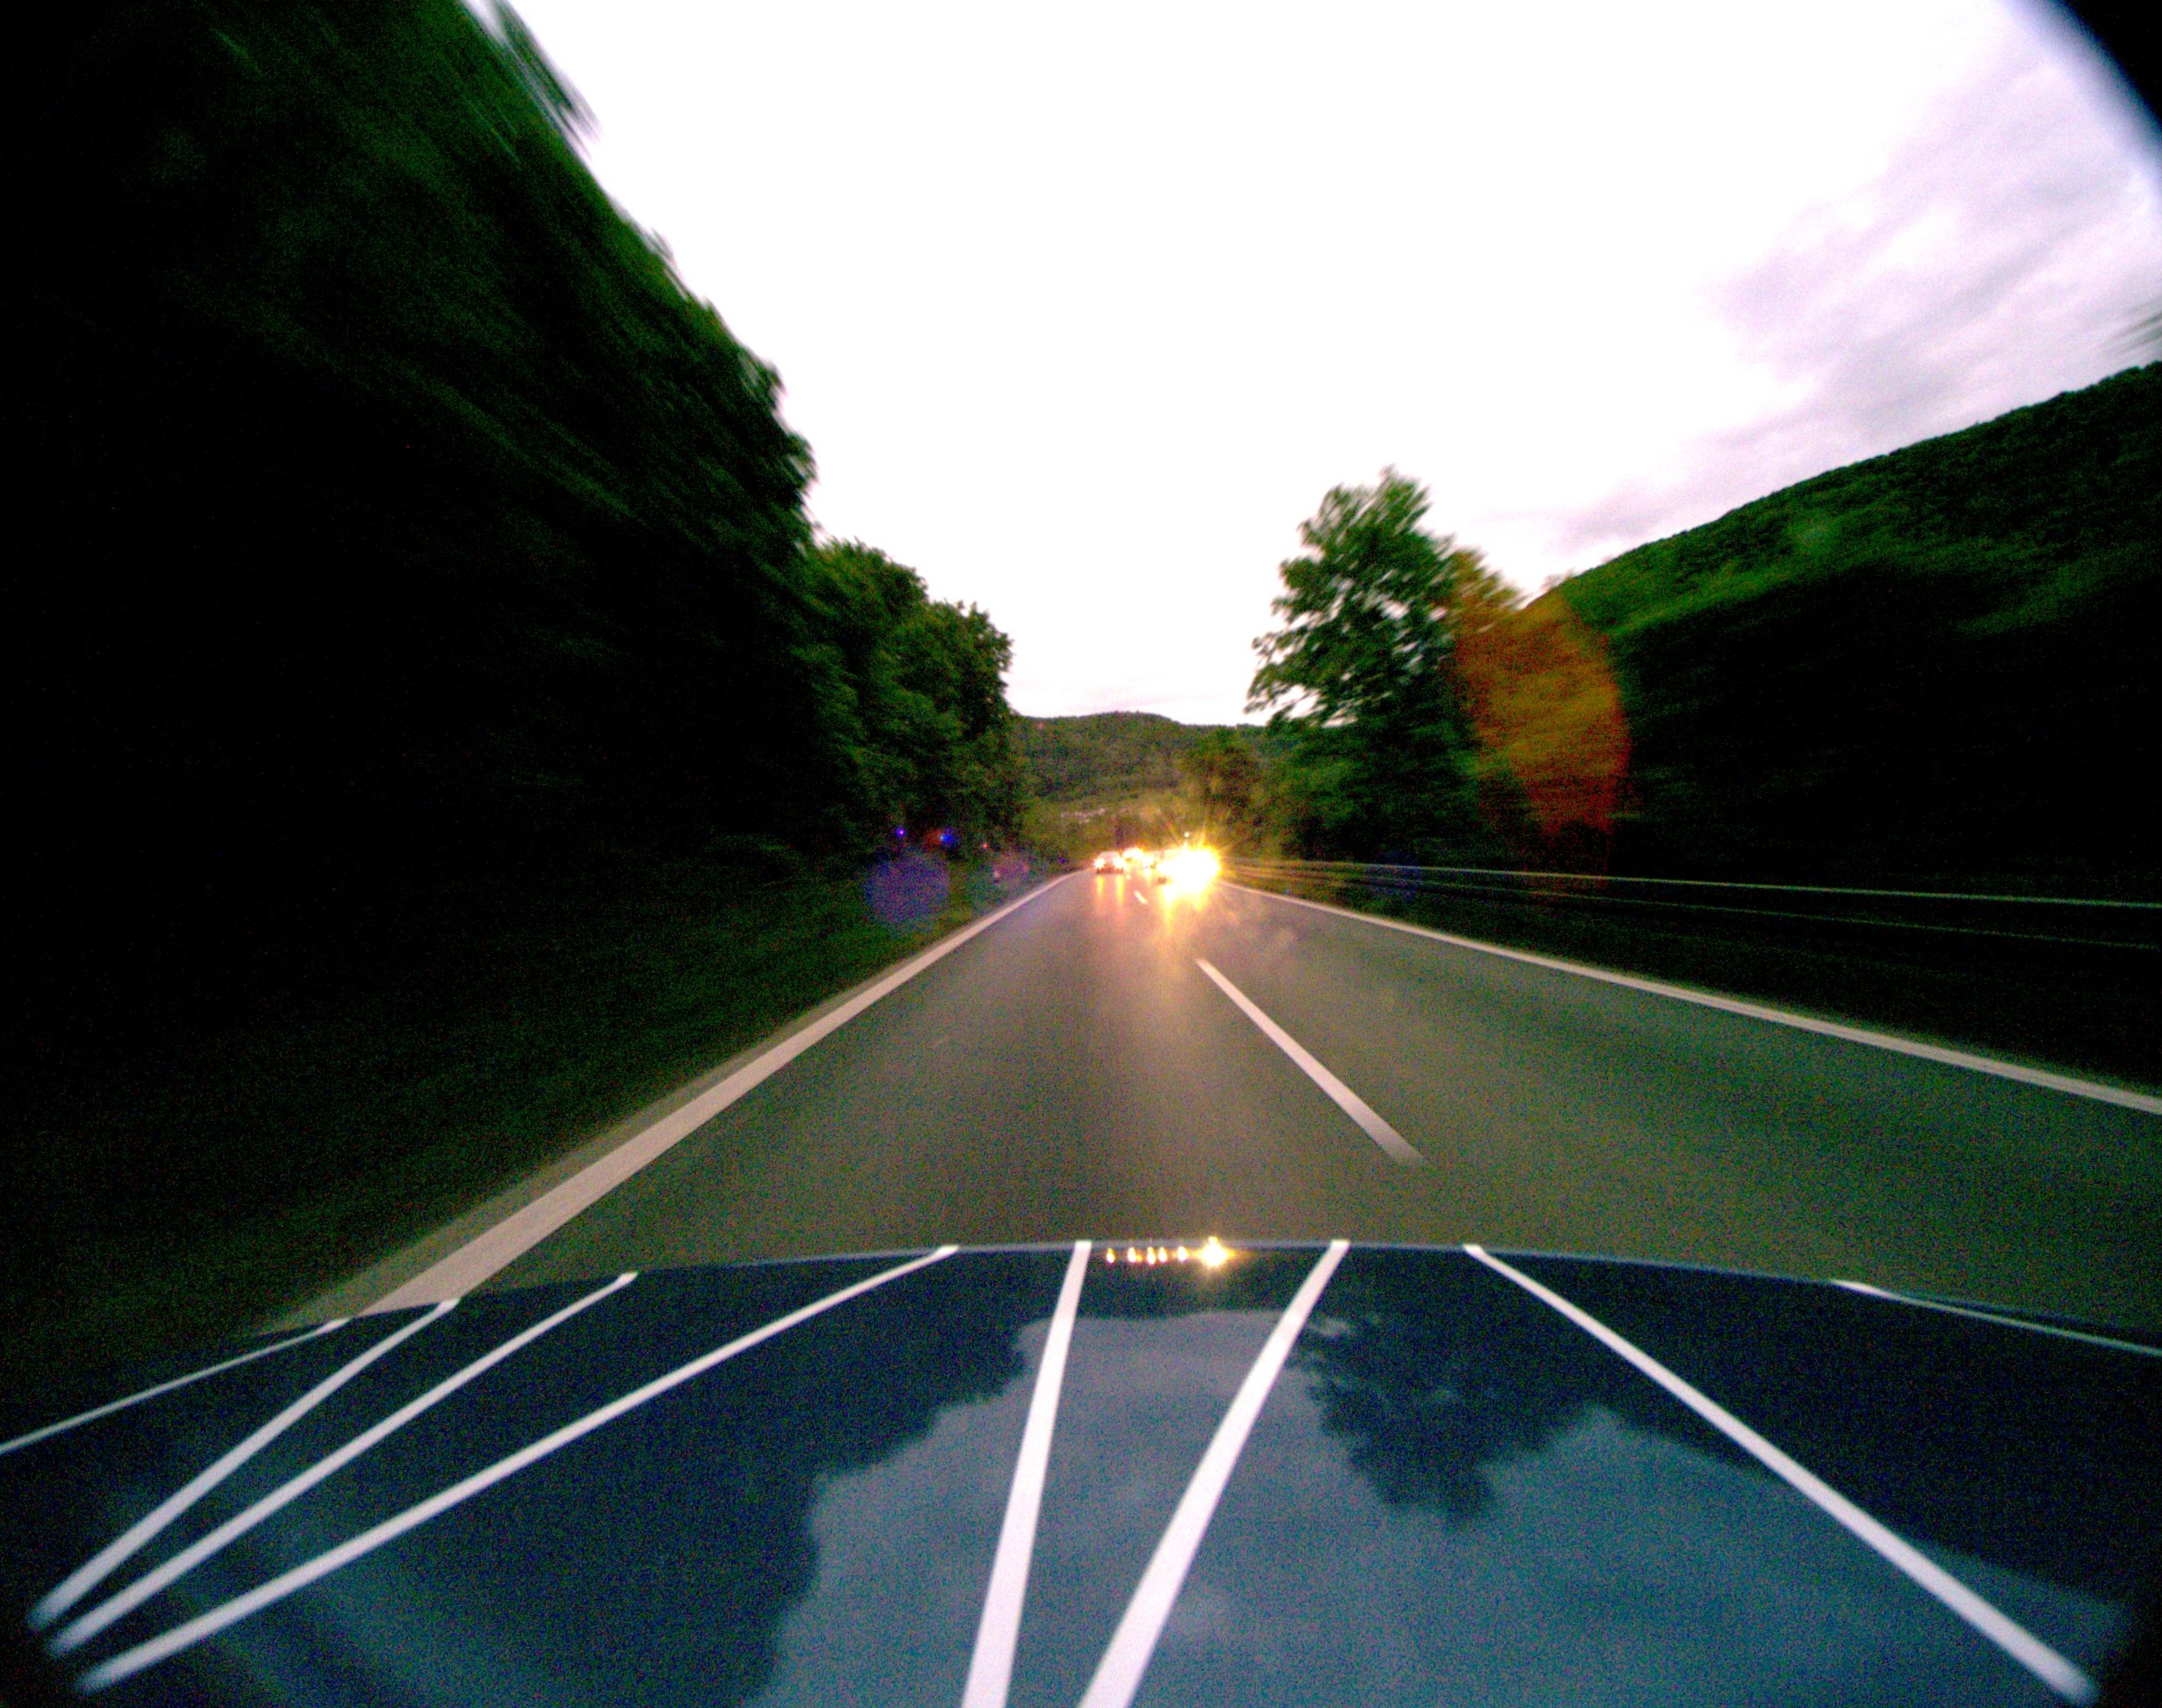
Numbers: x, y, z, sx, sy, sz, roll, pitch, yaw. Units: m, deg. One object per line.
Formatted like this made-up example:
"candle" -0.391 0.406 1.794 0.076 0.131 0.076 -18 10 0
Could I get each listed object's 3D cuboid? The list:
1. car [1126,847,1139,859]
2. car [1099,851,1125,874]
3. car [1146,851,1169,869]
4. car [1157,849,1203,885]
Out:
"car" 7.122 -0.167 105.241 1.737 1.641 3.669 -2 1 4
"car" 2.151 0.535 52.384 1.690 1.443 3.669 -2 0 3
"car" 6.479 0.471 64.631 1.690 1.425 3.669 -2 0 3
"car" 4.428 0.545 34.481 1.690 1.460 3.768 -2 0 2
